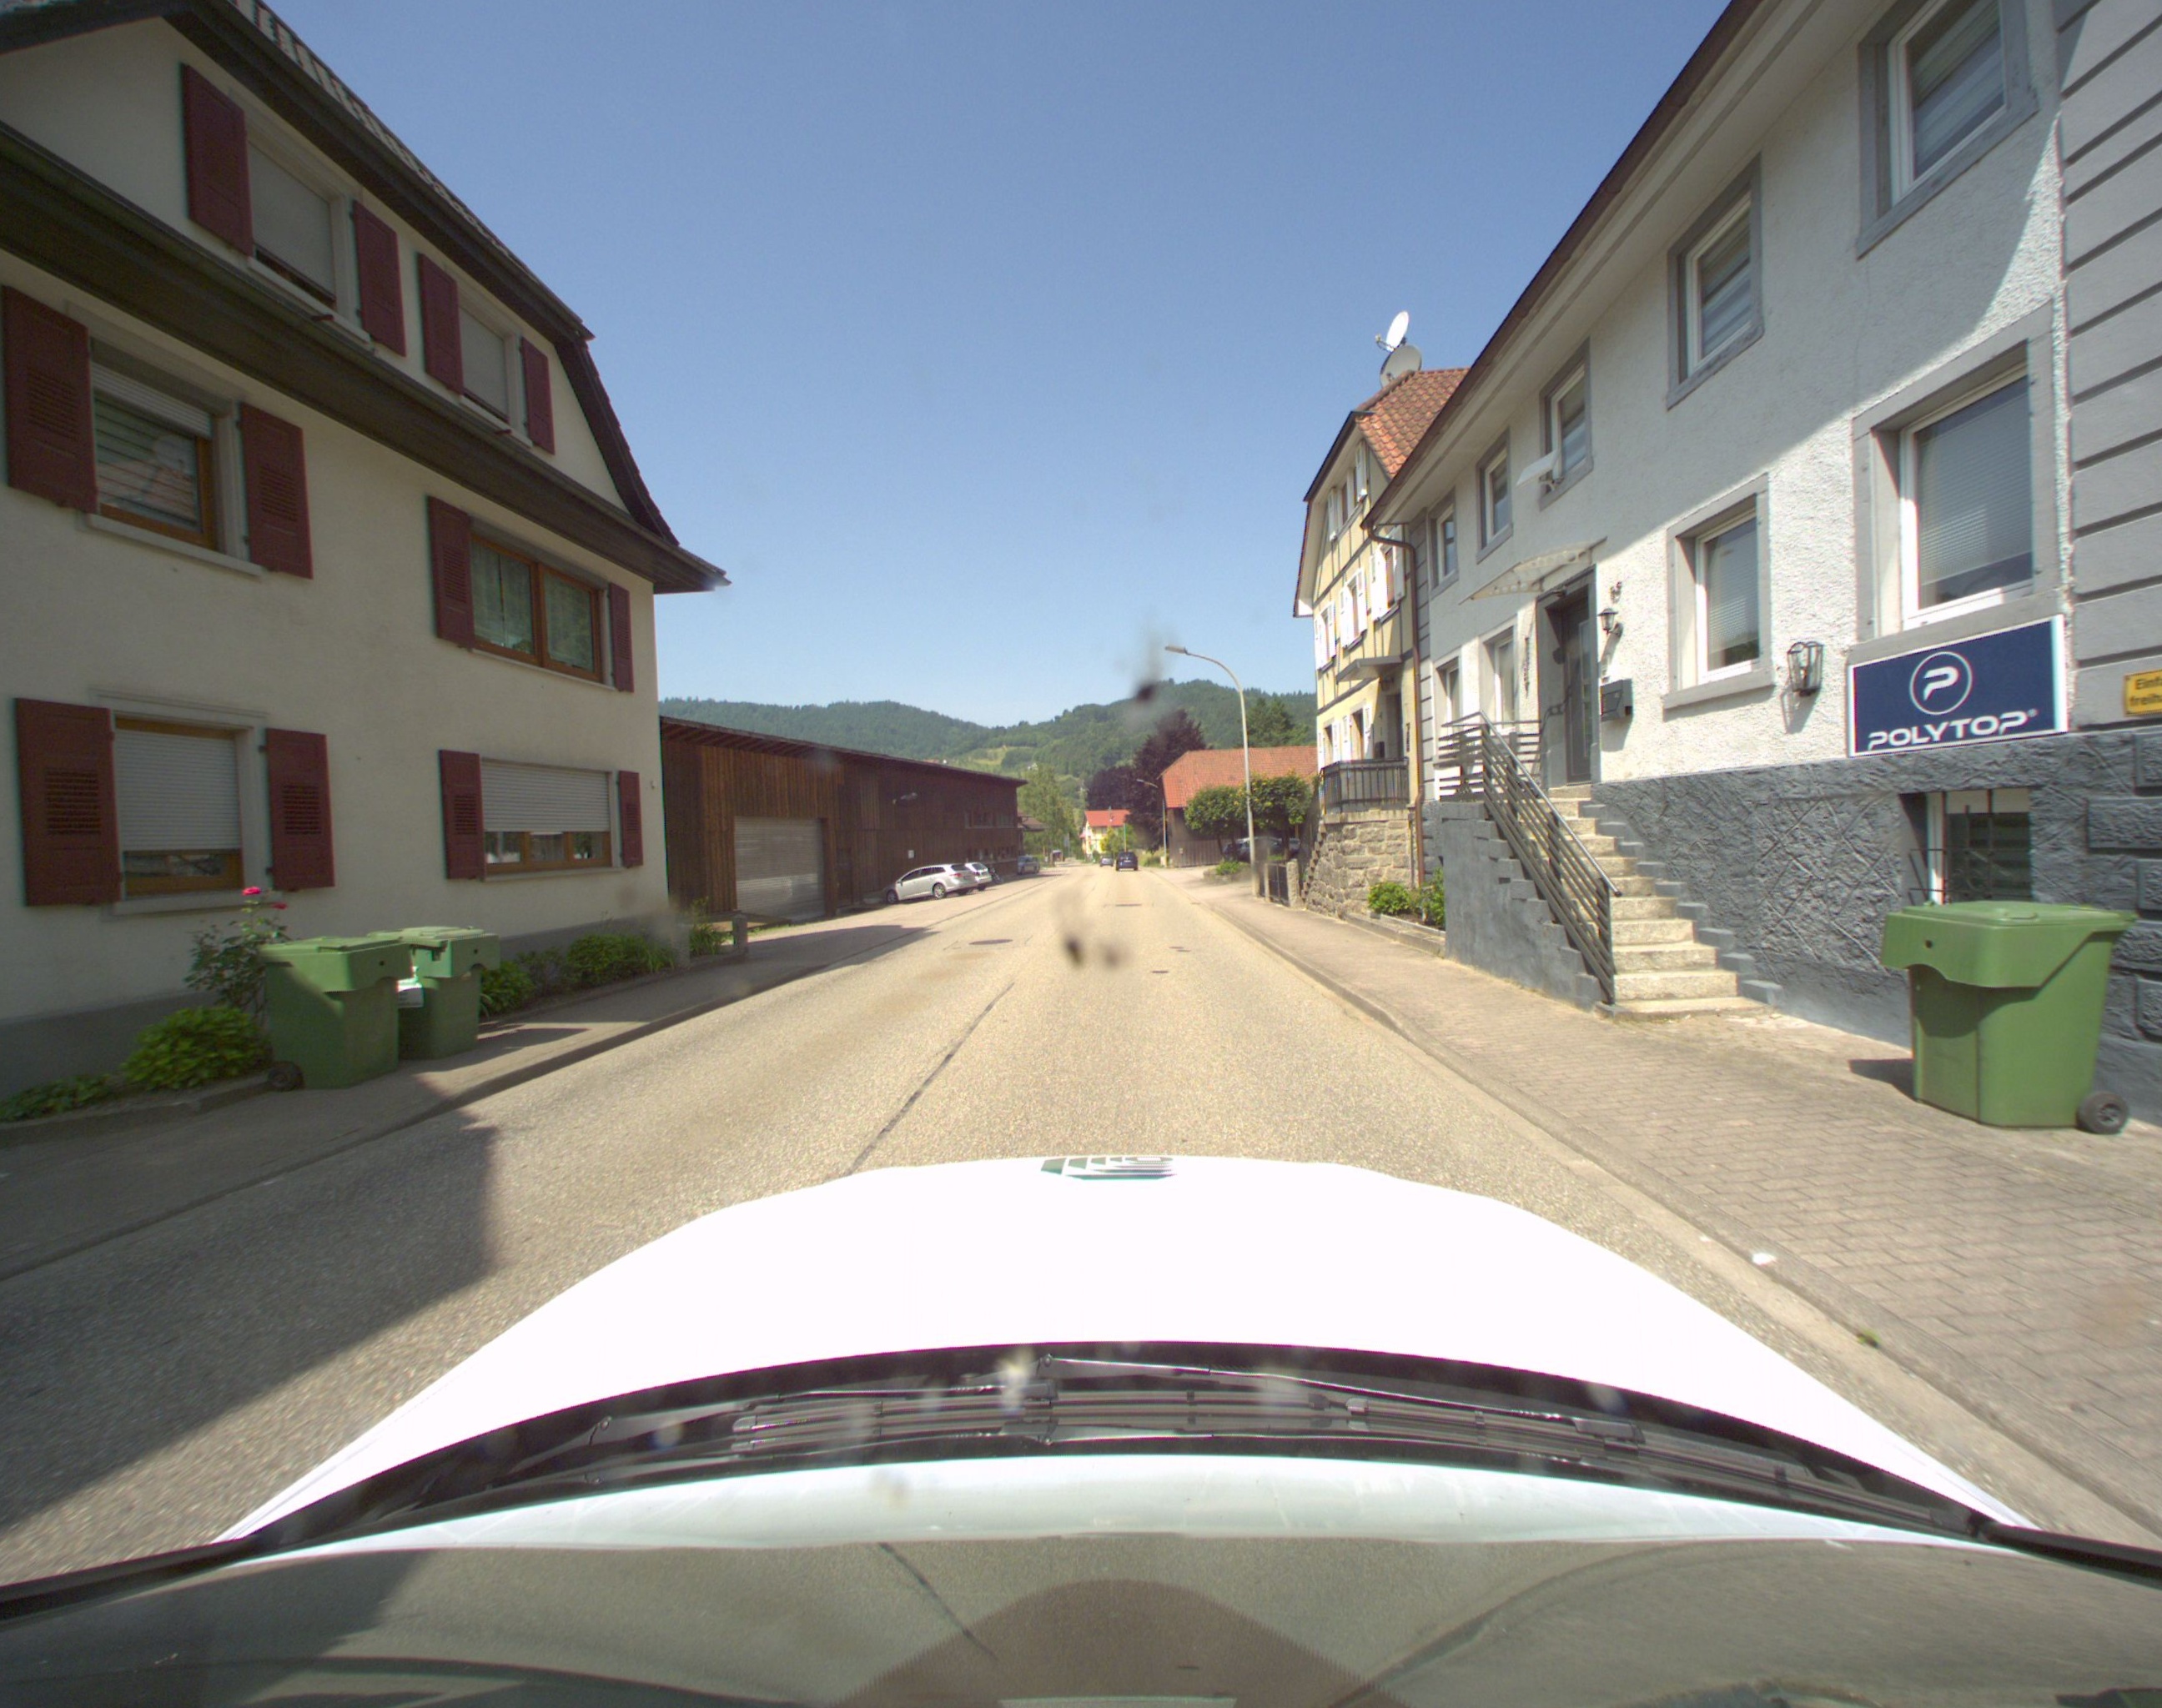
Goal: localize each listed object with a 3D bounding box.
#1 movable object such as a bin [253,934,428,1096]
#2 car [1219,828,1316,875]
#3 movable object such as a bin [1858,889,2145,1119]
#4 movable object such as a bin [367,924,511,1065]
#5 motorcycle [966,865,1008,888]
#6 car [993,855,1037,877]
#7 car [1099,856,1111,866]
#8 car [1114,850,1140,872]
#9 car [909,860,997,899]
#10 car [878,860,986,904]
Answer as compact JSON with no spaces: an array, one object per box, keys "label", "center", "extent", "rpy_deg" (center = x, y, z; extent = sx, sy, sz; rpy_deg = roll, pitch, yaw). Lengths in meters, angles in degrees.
[{"label":"movable object such as a bin","center":[-5.553,1.183,6.146],"extent":[0.673,1.067,0.653],"rpy_deg":[-3,0,1]},{"label":"car","center":[8.883,-0.109,39.096],"extent":[4.200,1.687,1.780],"rpy_deg":[-7,-1,6]},{"label":"movable object such as a bin","center":[4.602,0.718,4.123],"extent":[0.701,1.020,0.618],"rpy_deg":[-3,0,4]},{"label":"movable object such as a bin","center":[-5.438,1.168,6.930],"extent":[0.673,1.067,0.621],"rpy_deg":[-3,0,1]},{"label":"motorcycle","center":[-5.769,1.356,49.886],"extent":[2.392,1.264,0.746],"rpy_deg":[-3,0,12]},{"label":"car","center":[-5.036,0.892,63.040],"extent":[1.715,1.454,4.826],"rpy_deg":[-2,1,16]},{"label":"car","center":[3.246,0.915,110.667],"extent":[1.473,1.209,2.382],"rpy_deg":[-4,0,-2]},{"label":"car","center":[3.870,0.576,68.773],"extent":[1.913,1.698,3.787],"rpy_deg":[-3,0,0]},{"label":"car","center":[-6.174,1.227,39.366],"extent":[3.630,1.385,1.719],"rpy_deg":[-7,-1,17]},{"label":"car","center":[-6.712,1.253,36.537],"extent":[4.387,1.474,1.936],"rpy_deg":[-7,-1,28]}]
